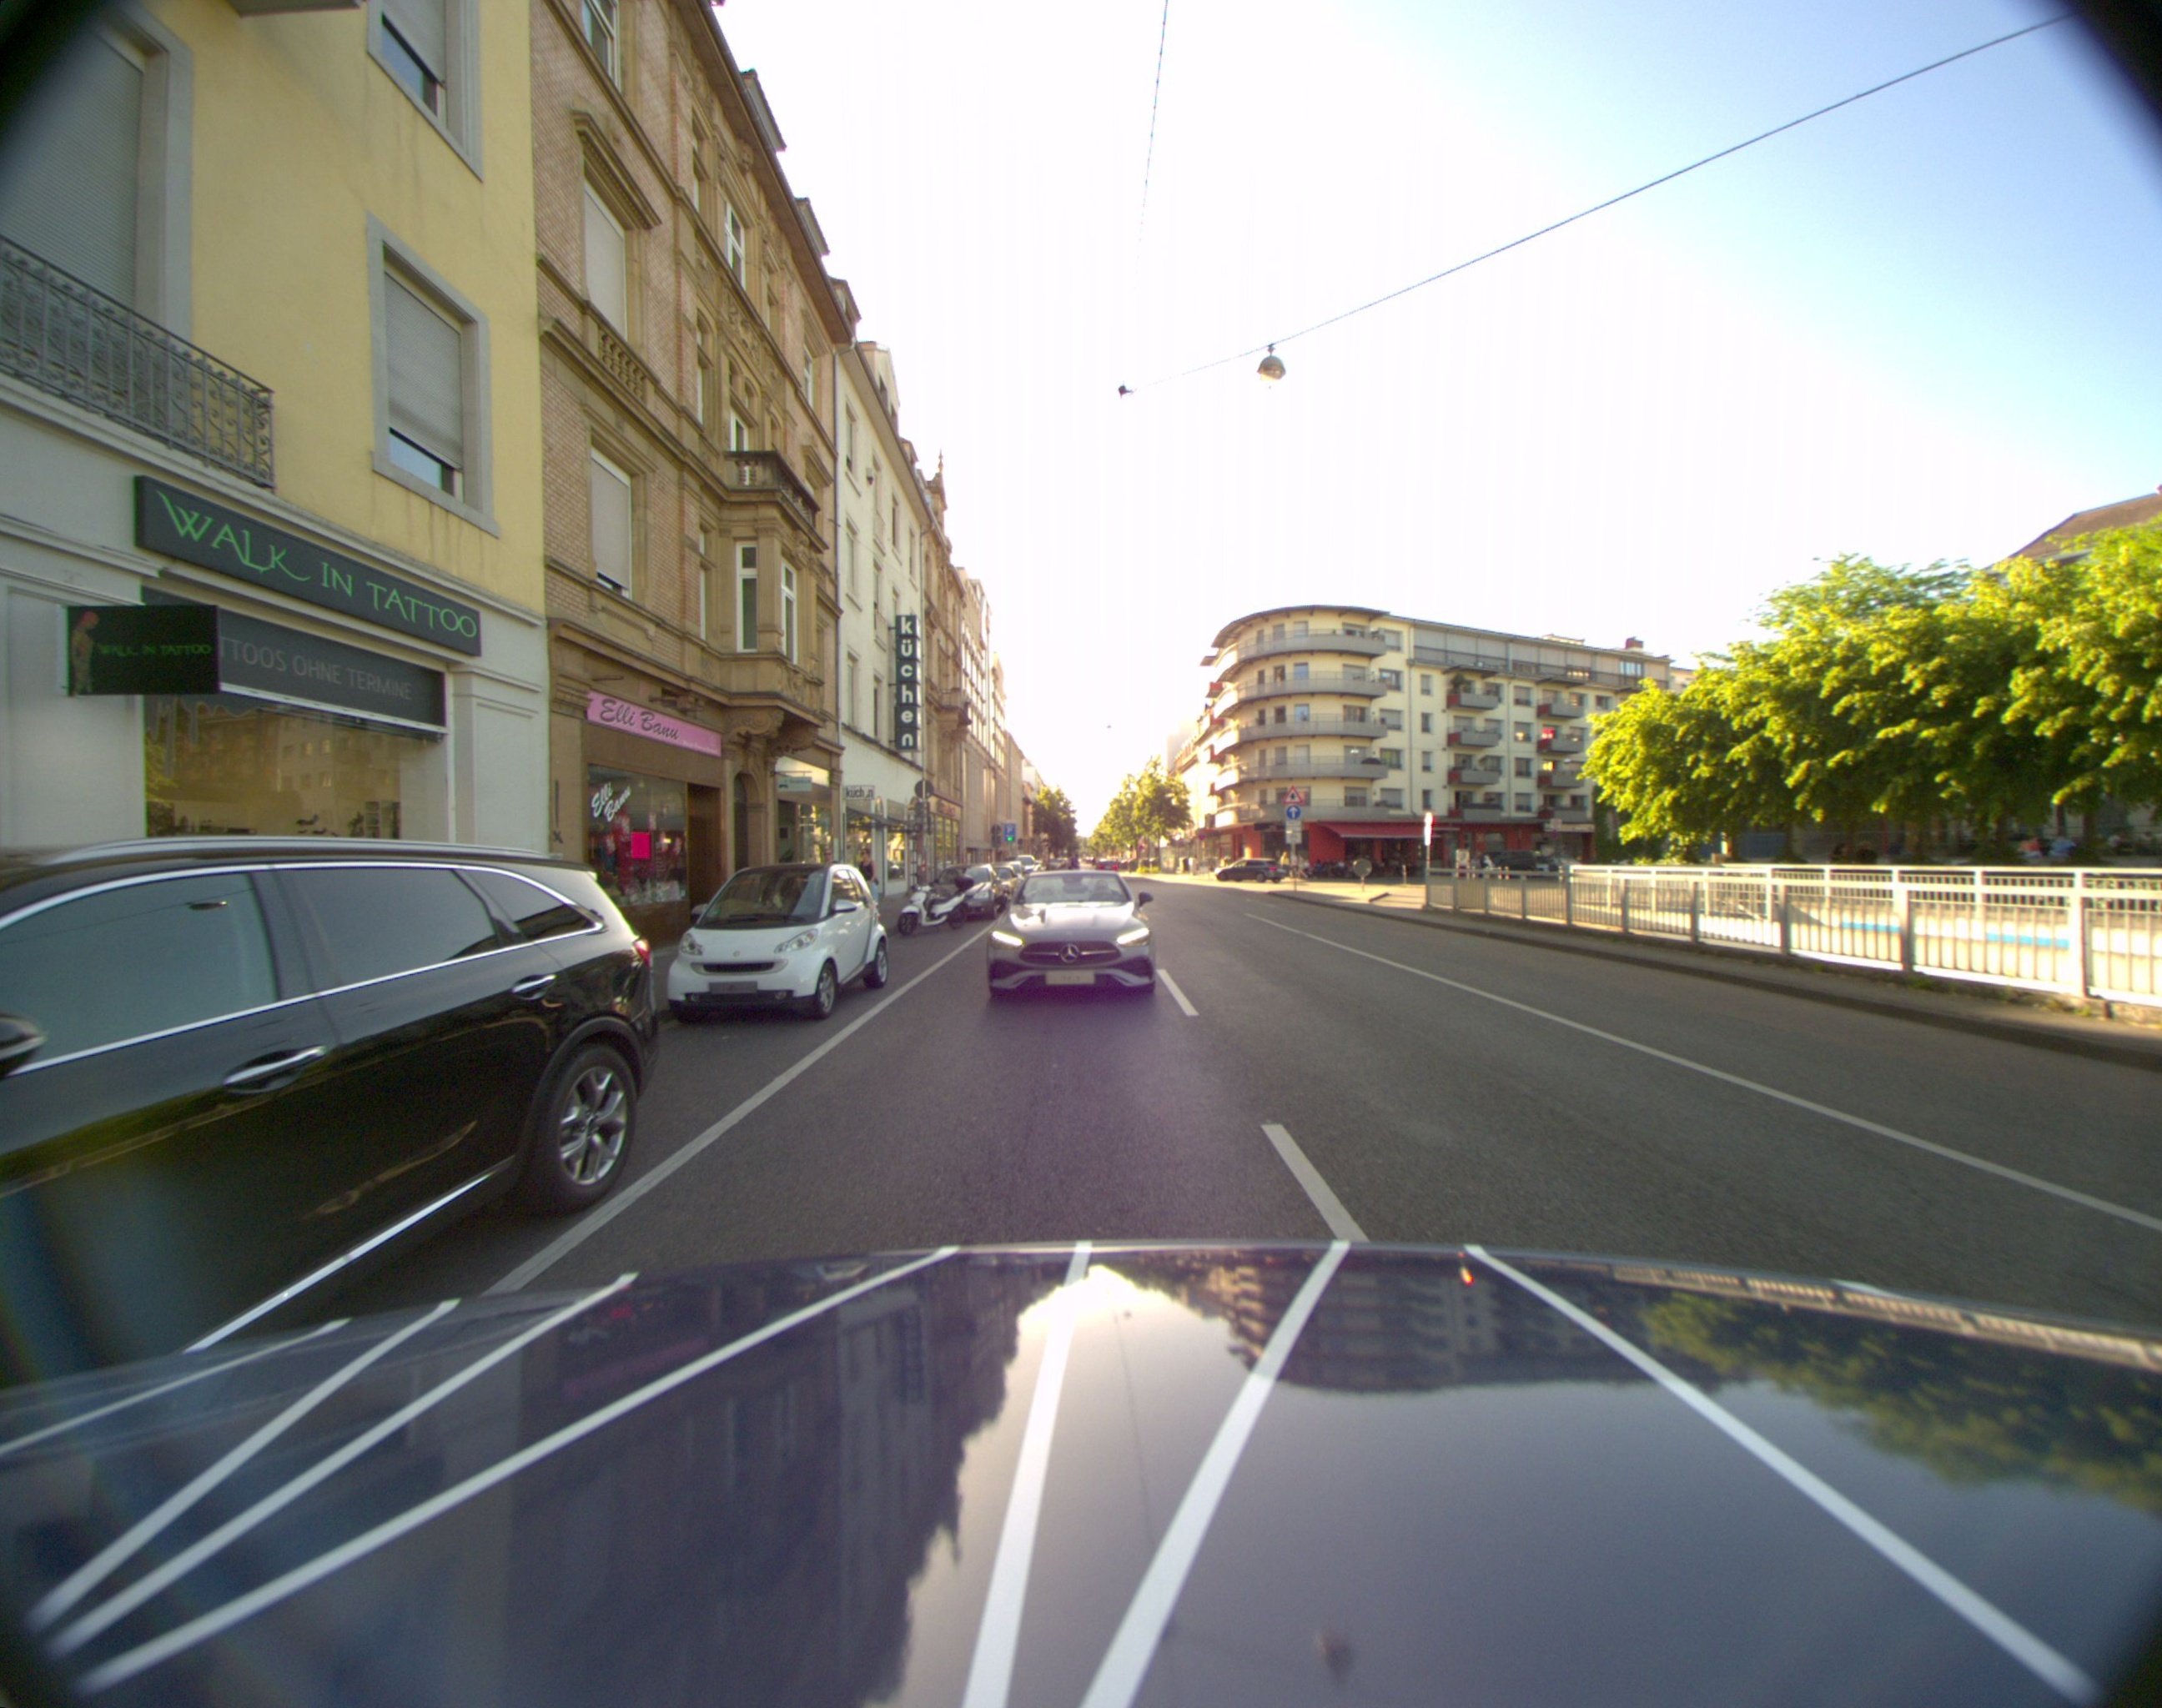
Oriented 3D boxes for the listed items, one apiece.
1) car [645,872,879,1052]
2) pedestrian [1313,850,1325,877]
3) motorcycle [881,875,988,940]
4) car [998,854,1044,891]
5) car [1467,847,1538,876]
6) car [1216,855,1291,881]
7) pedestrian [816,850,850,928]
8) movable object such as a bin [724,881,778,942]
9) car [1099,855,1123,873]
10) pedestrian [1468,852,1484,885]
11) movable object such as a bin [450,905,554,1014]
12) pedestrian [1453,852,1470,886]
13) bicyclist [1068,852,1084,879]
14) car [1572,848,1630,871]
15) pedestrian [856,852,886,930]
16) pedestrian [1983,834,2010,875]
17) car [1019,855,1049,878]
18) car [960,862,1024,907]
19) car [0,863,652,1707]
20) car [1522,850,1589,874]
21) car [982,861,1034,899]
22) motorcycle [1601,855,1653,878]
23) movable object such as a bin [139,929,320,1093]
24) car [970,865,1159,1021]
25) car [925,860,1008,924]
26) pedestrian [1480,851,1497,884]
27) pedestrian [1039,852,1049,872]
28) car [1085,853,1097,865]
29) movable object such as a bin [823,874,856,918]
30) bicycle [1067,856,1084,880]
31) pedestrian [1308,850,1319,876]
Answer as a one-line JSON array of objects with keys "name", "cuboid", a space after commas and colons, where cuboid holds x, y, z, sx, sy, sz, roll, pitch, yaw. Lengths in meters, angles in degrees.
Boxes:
[{"name": "car", "cuboid": [-3.219, 0.999, 8.180, 1.275, 1.509, 2.795, -2, 0, 0]}, {"name": "pedestrian", "cuboid": [15.527, 0.607, 49.586, 0.575, 1.698, 0.642, -1, 0, 3]}, {"name": "motorcycle", "cuboid": [-3.228, 1.144, 16.885, 2.178, 1.272, 0.866, -2, 0, -41]}, {"name": "car", "cuboid": [-2.938, 0.869, 38.067, 1.895, 1.680, 4.049, -2, 0, 1]}, {"name": "car", "cuboid": [29.225, 0.499, 52.661, 4.432, 1.901, 1.952, -2, 0, -23]}, {"name": "car", "cuboid": [9.987, 0.801, 44.182, 1.811, 1.388, 3.916, -2, 0, -42]}, {"name": "pedestrian", "cuboid": [-5.302, 0.742, 16.227, 0.619, 1.623, 0.462, -2, 1, -22]}, {"name": "movable object such as a bin", "cuboid": [-6.184, 1.069, 14.281, 0.716, 1.065, 0.619, 2, 0, 1]}, {"name": "car", "cuboid": [2.469, 0.809, 63.493, 1.895, 1.388, 4.256, -1, 0, 2]}, {"name": "pedestrian", "cuboid": [21.234, 0.773, 40.816, 0.602, 1.782, 0.581, -3, 1, -45]}, {"name": "movable object such as a bin", "cuboid": [-6.127, 1.097, 8.069, 0.606, 1.060, 0.619, 2, 0, 1]}, {"name": "pedestrian", "cuboid": [20.330, 0.820, 40.600, 0.602, 1.782, 0.581, -3, 1, -45]}, {"name": "bicyclist", "cuboid": [-0.275, 0.594, 40.368, 0.798, 1.426, 1.008, -2, 0, 1]}, {"name": "car", "cuboid": [39.350, 0.434, 57.528, 3.940, 1.611, 1.788, -2, 0, -23]}, {"name": "pedestrian", "cuboid": [-4.487, 0.771, 16.237, 0.415, 1.623, 0.514, -2, 1, -34]}, {"name": "pedestrian", "cuboid": [40.911, 0.014, 33.964, 0.602, 1.782, 0.582, -2, 1, -20]}, {"name": "car", "cuboid": [-3.461, 0.934, 56.620, 1.895, 1.595, 4.049, -2, 0, 1]}, {"name": "car", "cuboid": [-3.080, 1.031, 26.943, 1.737, 1.408, 3.802, -2, 0, 1]}, {"name": "car", "cuboid": [-3.069, 0.931, 1.701, 1.760, 1.726, 4.571, -2, 0, -3]}, {"name": "car", "cuboid": [34.352, 0.573, 55.009, 4.300, 1.611, 1.952, -2, 0, -23]}, {"name": "car", "cuboid": [-2.960, 1.015, 31.437, 1.737, 1.408, 3.802, -2, 0, 1]}, {"name": "motorcycle", "cuboid": [26.542, 0.614, 36.969, 1.927, 1.096, 0.682, -1, 0, 23]}, {"name": "movable object such as a bin", "cuboid": [-6.183, 1.112, 5.548, 0.606, 1.060, 0.619, 2, 0, 1]}, {"name": "car", "cuboid": [-0.148, 0.919, 9.745, 1.848, 1.440, 4.373, -2, 0, 0]}, {"name": "car", "cuboid": [-3.051, 0.972, 20.954, 1.737, 1.509, 4.164, -2, 0, -2]}, {"name": "pedestrian", "cuboid": [21.930, 0.725, 40.882, 0.602, 1.782, 0.581, -3, 1, -40]}, {"name": "pedestrian", "cuboid": [-2.975, 0.639, 60.648, 0.774, 1.606, 0.696, -2, 1, -3]}, {"name": "car", "cuboid": [1.806, 0.936, 135.063, 1.998, 2.002, 4.000, -2, 0, 1]}, {"name": "movable object such as a bin", "cuboid": [-6.152, 1.067, 19.394, 0.606, 1.067, 0.619, 2, 0, 1]}, {"name": "bicycle", "cuboid": [-0.274, 0.729, 40.394, 0.798, 1.225, 1.774, -2, 0, 1]}, {"name": "pedestrian", "cuboid": [15.386, 0.562, 50.280, 0.575, 1.698, 0.642, -1, 0, 3]}]
